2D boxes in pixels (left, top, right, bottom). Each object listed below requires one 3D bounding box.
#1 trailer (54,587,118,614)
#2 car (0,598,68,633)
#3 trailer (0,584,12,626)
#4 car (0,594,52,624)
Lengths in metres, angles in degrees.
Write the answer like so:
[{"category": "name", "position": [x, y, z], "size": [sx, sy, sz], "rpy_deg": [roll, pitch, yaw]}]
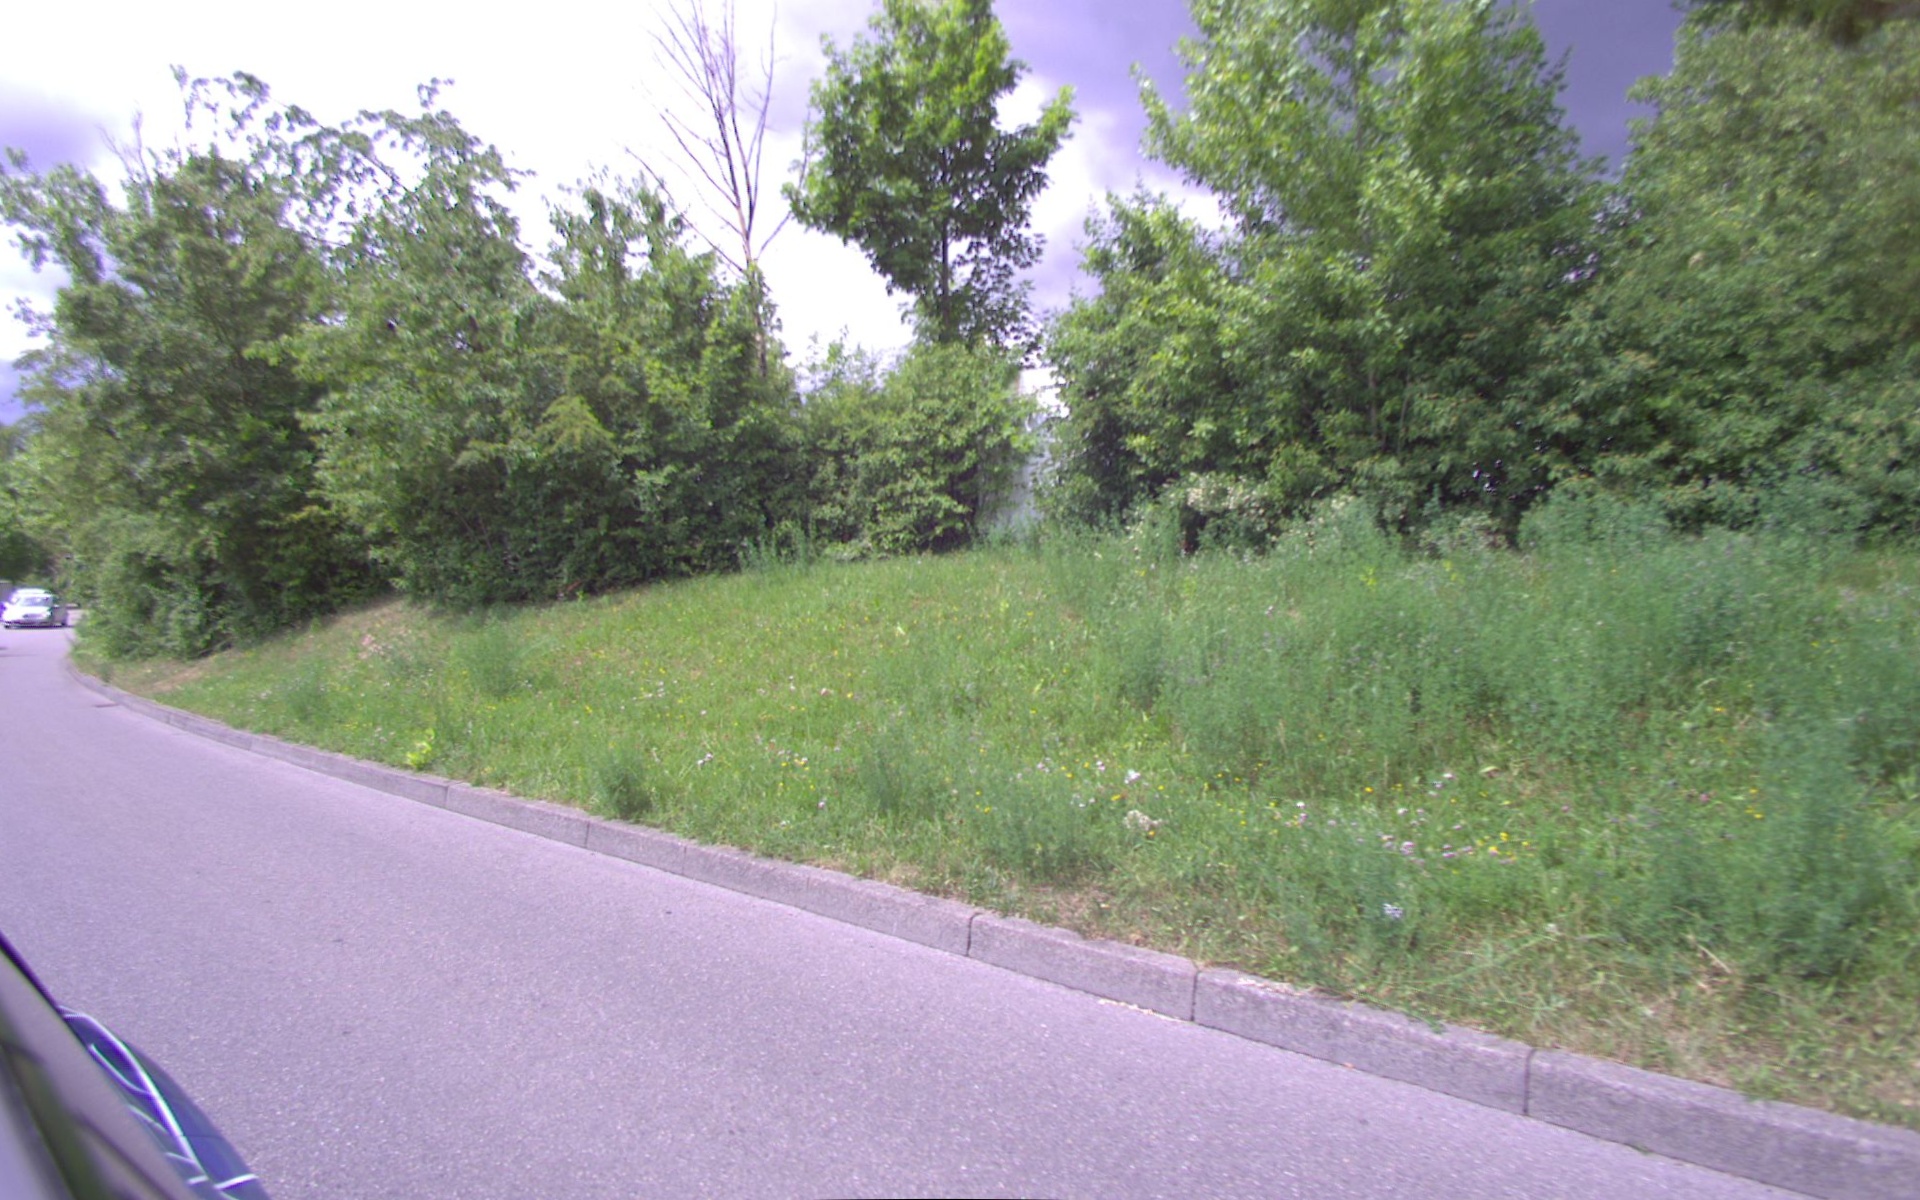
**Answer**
[{"category": "trailer", "position": [-56.643, 0.014, 65.674], "size": [1.784, 1.590, 4.505], "rpy_deg": [0, 2, -22]}, {"category": "car", "position": [-44.565, 0.716, 48.653], "size": [1.767, 1.520, 4.125], "rpy_deg": [-1, 2, -31]}, {"category": "trailer", "position": [-49.936, 0.282, 51.508], "size": [1.706, 2.094, 3.795], "rpy_deg": [0, 2, -31]}, {"category": "car", "position": [-52.533, 0.483, 56.578], "size": [1.682, 1.488, 3.796], "rpy_deg": [1, 2, -26]}]
